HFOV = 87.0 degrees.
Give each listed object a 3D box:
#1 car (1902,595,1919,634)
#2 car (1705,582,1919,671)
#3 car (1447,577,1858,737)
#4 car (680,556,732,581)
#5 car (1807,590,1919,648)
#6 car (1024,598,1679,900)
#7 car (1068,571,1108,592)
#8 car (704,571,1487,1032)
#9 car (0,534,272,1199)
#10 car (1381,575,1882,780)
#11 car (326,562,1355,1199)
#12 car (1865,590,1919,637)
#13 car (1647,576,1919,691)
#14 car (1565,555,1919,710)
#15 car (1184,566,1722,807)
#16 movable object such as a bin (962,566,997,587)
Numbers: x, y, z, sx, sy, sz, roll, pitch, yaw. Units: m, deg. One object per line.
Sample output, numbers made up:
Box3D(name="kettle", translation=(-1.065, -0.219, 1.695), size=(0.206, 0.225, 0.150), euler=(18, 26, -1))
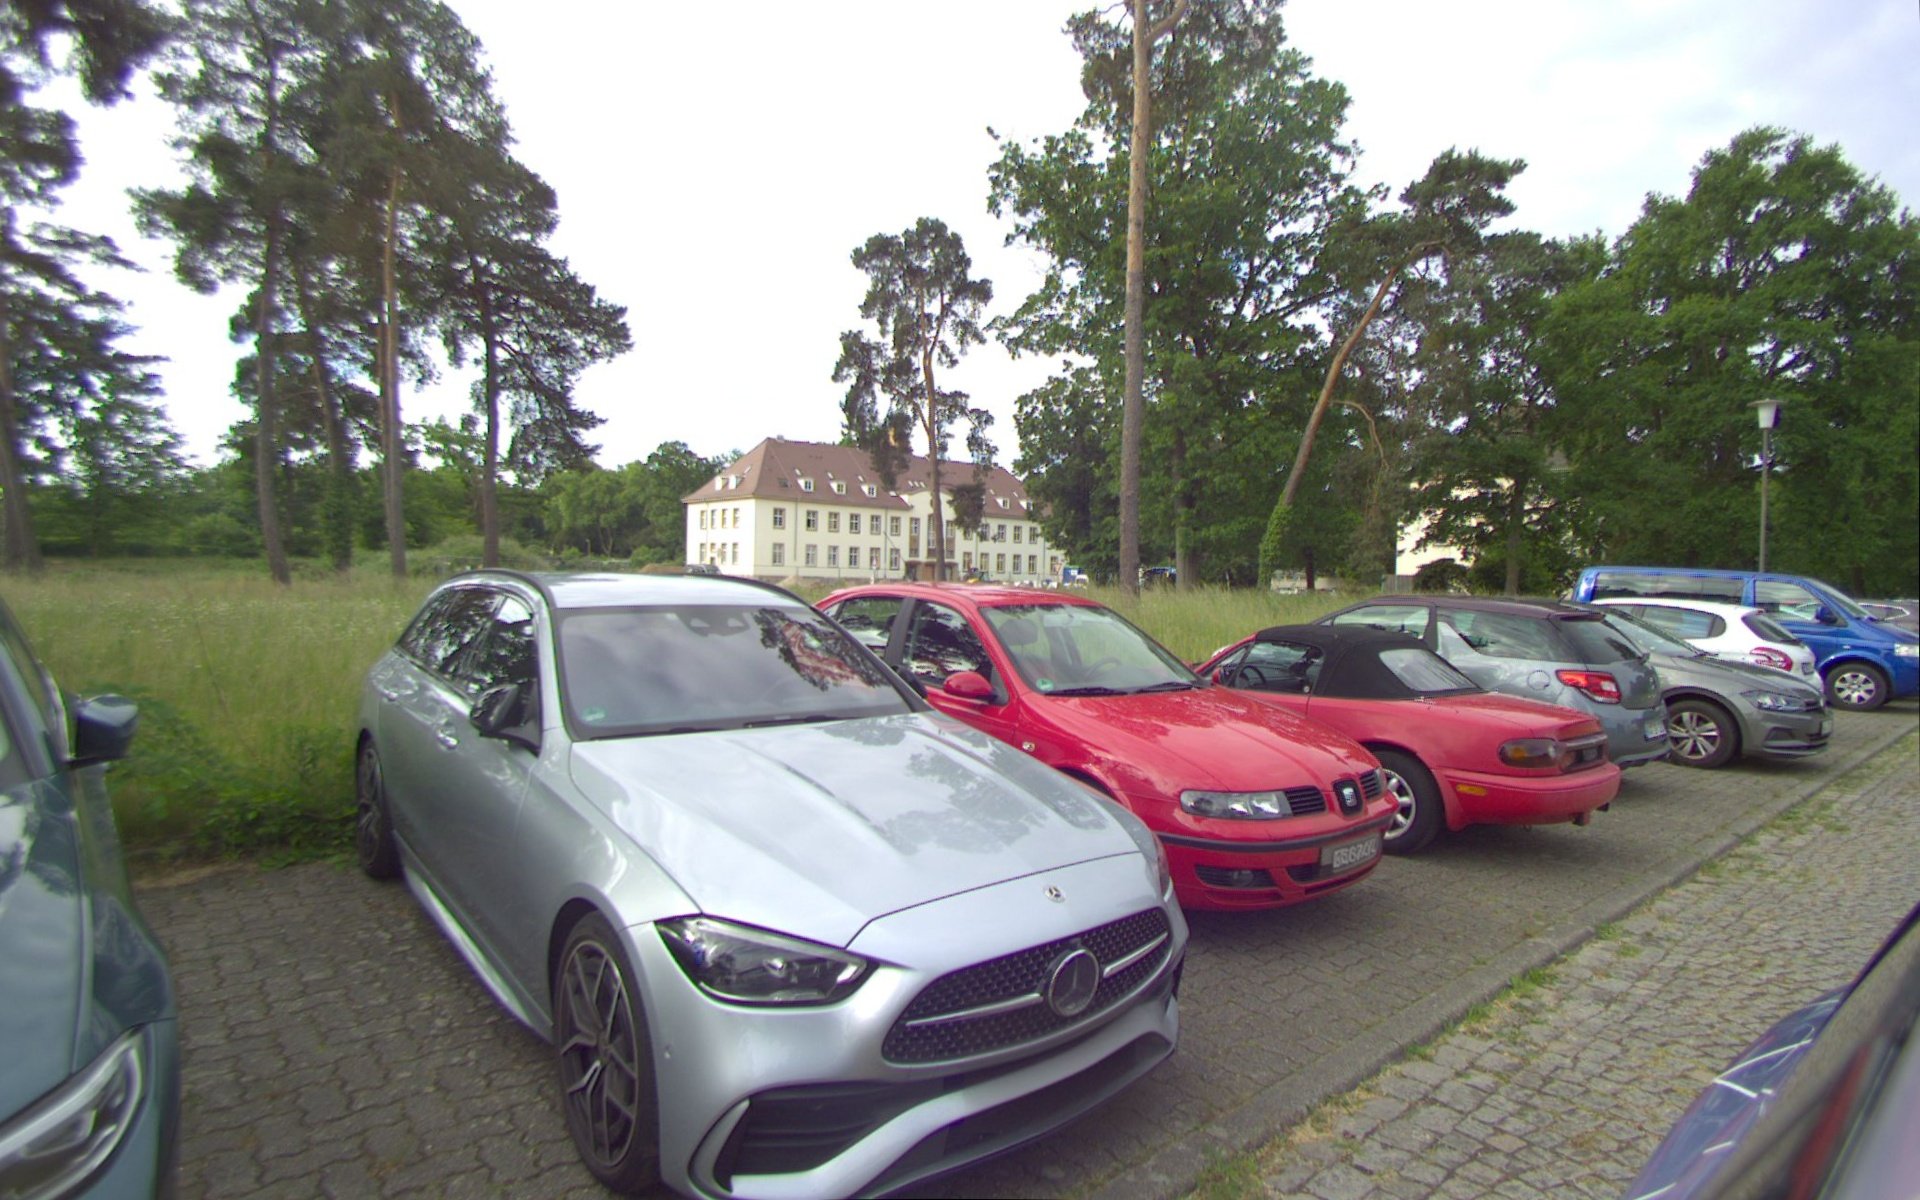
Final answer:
Box3D(name="car", translation=(37.920, 0.650, 37.781), size=(1.555, 1.443, 3.875), euler=(0, 3, -41))
Box3D(name="car", translation=(18.973, 0.522, 21.883), size=(1.790, 1.618, 4.269), euler=(0, 3, -41))
Box3D(name="car", translation=(8.488, 0.573, 12.697), size=(1.726, 1.490, 3.873), euler=(1, 3, -39))
Box3D(name="car", translation=(-25.819, -3.181, 102.589), size=(5.849, 2.268, 2.282), euler=(5, 3, 43))
Box3D(name="car", translation=(26.577, 0.555, 28.526), size=(1.555, 1.477, 3.892), euler=(0, 3, -41))
Box3D(name="car", translation=(2.443, 0.740, 7.061), size=(1.728, 1.251, 3.870), euler=(0, 4, -41))
Box3D(name="car", translation=(12.741, -1.860, 100.819), size=(1.995, 2.039, 3.936), euler=(2, 2, 44))
Box3D(name="car", translation=(0.373, 0.673, 5.794), size=(1.838, 1.433, 4.272), euler=(0, 4, -41))
Box3D(name="car", translation=(-3.179, 0.580, 2.456), size=(1.839, 1.433, 4.689), euler=(0, 4, -42))
Box3D(name="car", translation=(6.600, 0.599, 10.300), size=(1.727, 1.490, 3.872), euler=(0, 4, -40))
Box3D(name="car", translation=(-0.994, 0.676, 4.089), size=(1.840, 1.433, 4.429), euler=(0, 4, -43))
Box3D(name="car", translation=(34.251, 0.559, 35.034), size=(1.555, 1.557, 4.148), euler=(0, 3, -41))
Box3D(name="car", translation=(14.534, 0.503, 17.587), size=(1.809, 1.489, 3.872), euler=(0, 6, -41))
Box3D(name="car", translation=(12.606, 0.385, 15.970), size=(1.968, 1.969, 4.818), euler=(0, 4, -41))
Box3D(name="car", translation=(4.130, 0.548, 8.967), size=(1.728, 1.490, 3.870), euler=(0, 4, -41))
Box3D(name="movable object such as a bin", translation=(1.965, -2.332, 102.204), size=(3.180, 2.038, 1.682), euler=(1, 1, -33))
